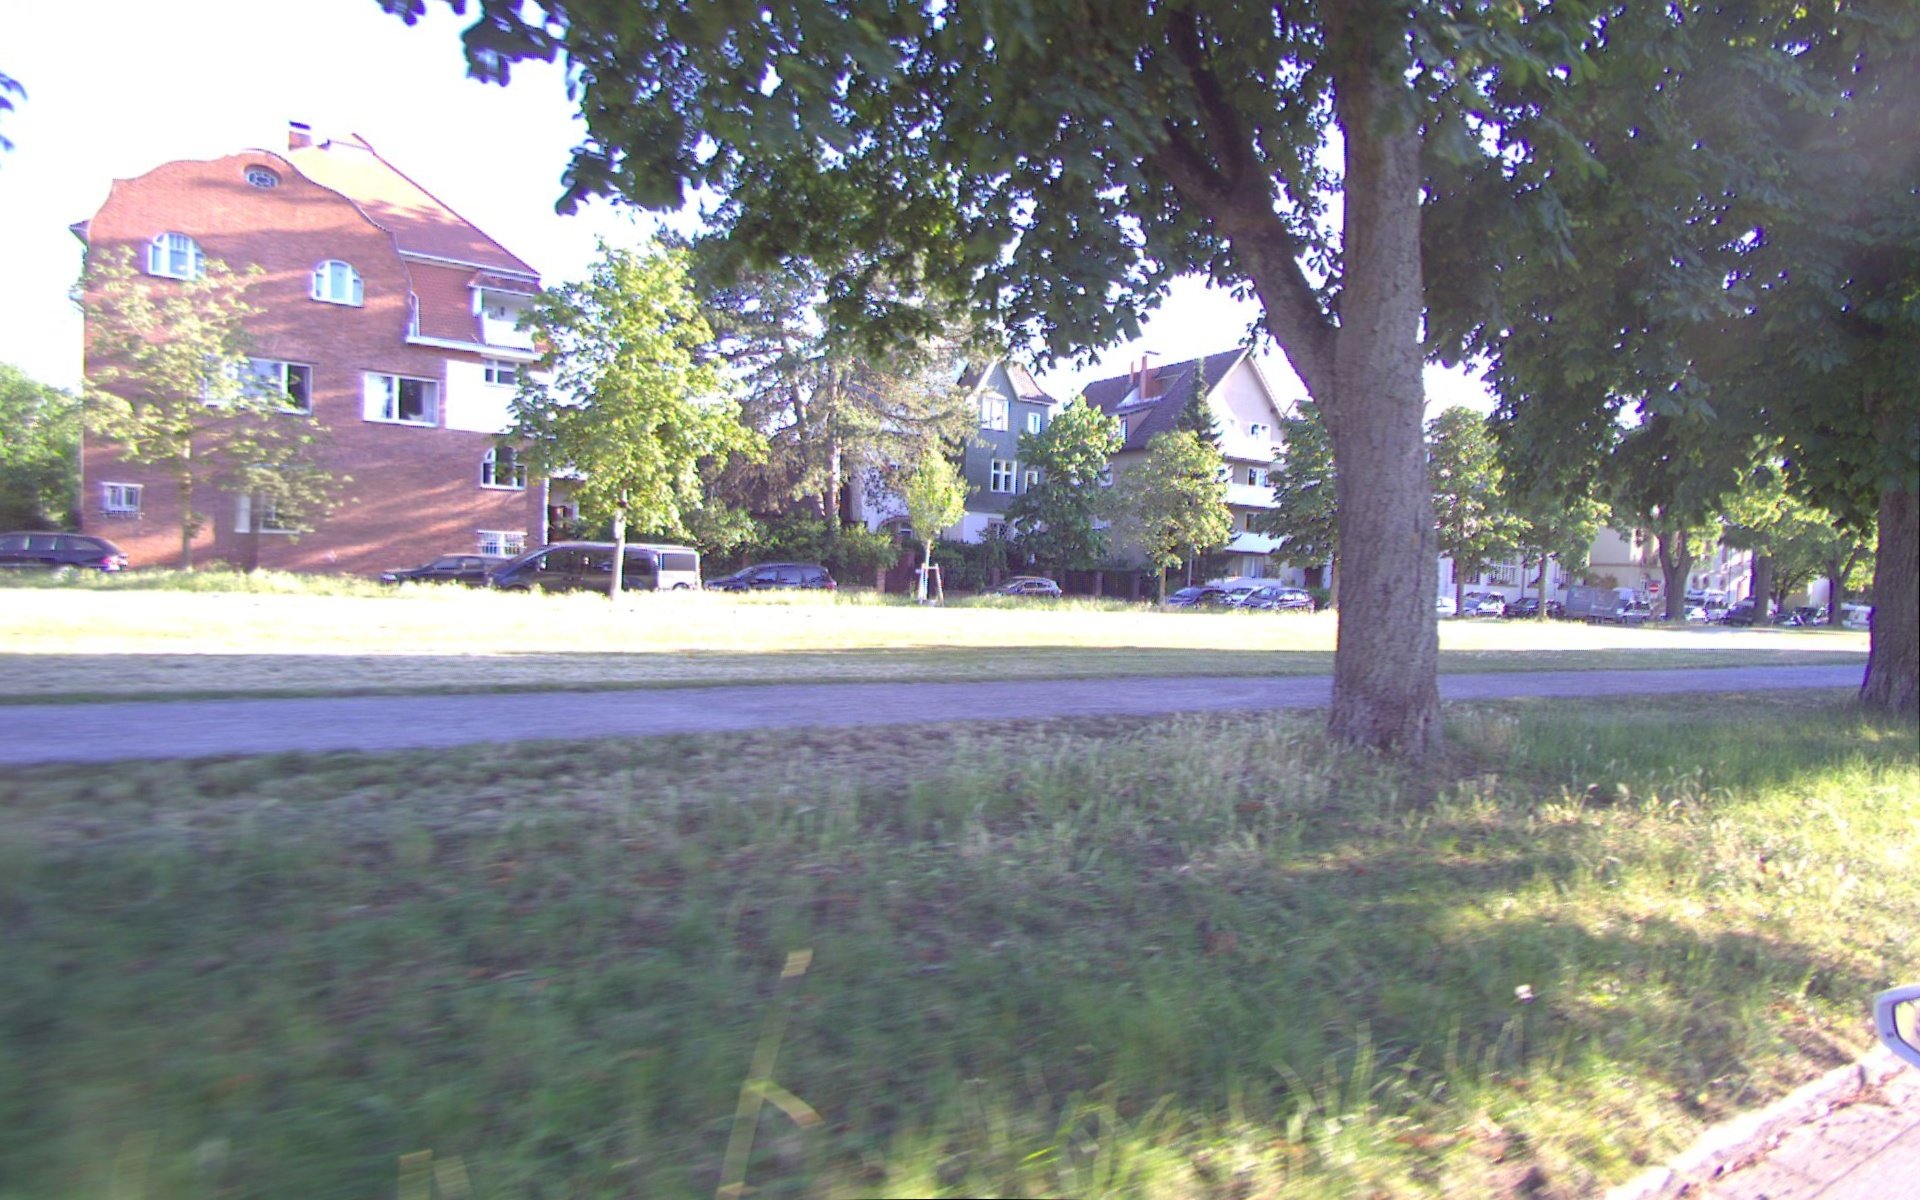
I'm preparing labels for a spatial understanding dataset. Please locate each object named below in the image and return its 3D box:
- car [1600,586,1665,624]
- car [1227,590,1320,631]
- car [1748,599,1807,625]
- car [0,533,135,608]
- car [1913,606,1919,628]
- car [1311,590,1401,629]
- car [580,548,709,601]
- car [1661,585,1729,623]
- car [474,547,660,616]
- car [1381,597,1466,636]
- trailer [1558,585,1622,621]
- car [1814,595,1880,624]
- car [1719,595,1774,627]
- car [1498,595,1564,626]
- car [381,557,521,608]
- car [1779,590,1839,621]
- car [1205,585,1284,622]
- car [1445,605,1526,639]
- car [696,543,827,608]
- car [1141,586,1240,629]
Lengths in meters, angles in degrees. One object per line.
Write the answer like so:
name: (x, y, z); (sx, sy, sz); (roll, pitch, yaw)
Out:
car: (51.262, 0.372, 76.518); (5.126, 2.708, 1.984); (2, 1, -31)
car: (14.884, 0.499, 47.706); (3.951, 1.706, 1.985); (2, 2, -28)
car: (62.315, 0.946, 76.531); (4.431, 1.817, 1.984); (2, 1, -30)
car: (-26.573, -0.847, 28.749); (4.317, 2.041, 1.748); (1, 2, -30)
car: (107.277, 1.939, 110.784); (4.313, 2.441, 1.984); (2, -1, -31)
car: (20.007, 0.467, 50.699); (4.204, 1.744, 1.984); (2, 2, -30)
car: (-11.910, -0.946, 37.983); (4.356, 1.862, 1.807); (1, 2, -30)
car: (60.085, 0.346, 82.085); (5.751, 2.961, 2.425); (2, -1, -31)
car: (-12.222, -0.551, 31.321); (5.184, 1.967, 1.984); (1, 2, -30)
car: (24.765, 0.882, 53.681); (4.204, 1.885, 1.984); (2, 2, -30)
trailer: (46.000, 0.205, 73.319); (4.669, 2.460, 1.984); (2, 1, -30)
car: (73.473, 0.810, 83.213); (5.395, 2.266, 2.522); (1, 1, -31)
car: (57.732, 0.830, 73.733); (4.263, 2.205, 1.676); (2, 1, -30)
car: (39.755, 0.722, 69.884); (4.698, 1.979, 1.982); (2, 1, -32)
car: (-17.730, -0.592, 35.074); (4.255, 1.645, 1.748); (1, 2, -30)
car: (67.037, 0.444, 79.291); (5.127, 2.280, 1.983); (2, 1, -31)
car: (15.506, 0.203, 54.696); (3.957, 1.807, 1.982); (2, 2, -33)
car: (29.323, 1.239, 56.013); (4.204, 1.671, 1.984); (2, 2, -30)
car: (-6.841, -0.834, 34.647); (3.954, 2.041, 1.983); (2, 2, -31)
car: (10.358, 0.334, 45.157); (3.951, 1.706, 1.985); (2, 2, -28)
